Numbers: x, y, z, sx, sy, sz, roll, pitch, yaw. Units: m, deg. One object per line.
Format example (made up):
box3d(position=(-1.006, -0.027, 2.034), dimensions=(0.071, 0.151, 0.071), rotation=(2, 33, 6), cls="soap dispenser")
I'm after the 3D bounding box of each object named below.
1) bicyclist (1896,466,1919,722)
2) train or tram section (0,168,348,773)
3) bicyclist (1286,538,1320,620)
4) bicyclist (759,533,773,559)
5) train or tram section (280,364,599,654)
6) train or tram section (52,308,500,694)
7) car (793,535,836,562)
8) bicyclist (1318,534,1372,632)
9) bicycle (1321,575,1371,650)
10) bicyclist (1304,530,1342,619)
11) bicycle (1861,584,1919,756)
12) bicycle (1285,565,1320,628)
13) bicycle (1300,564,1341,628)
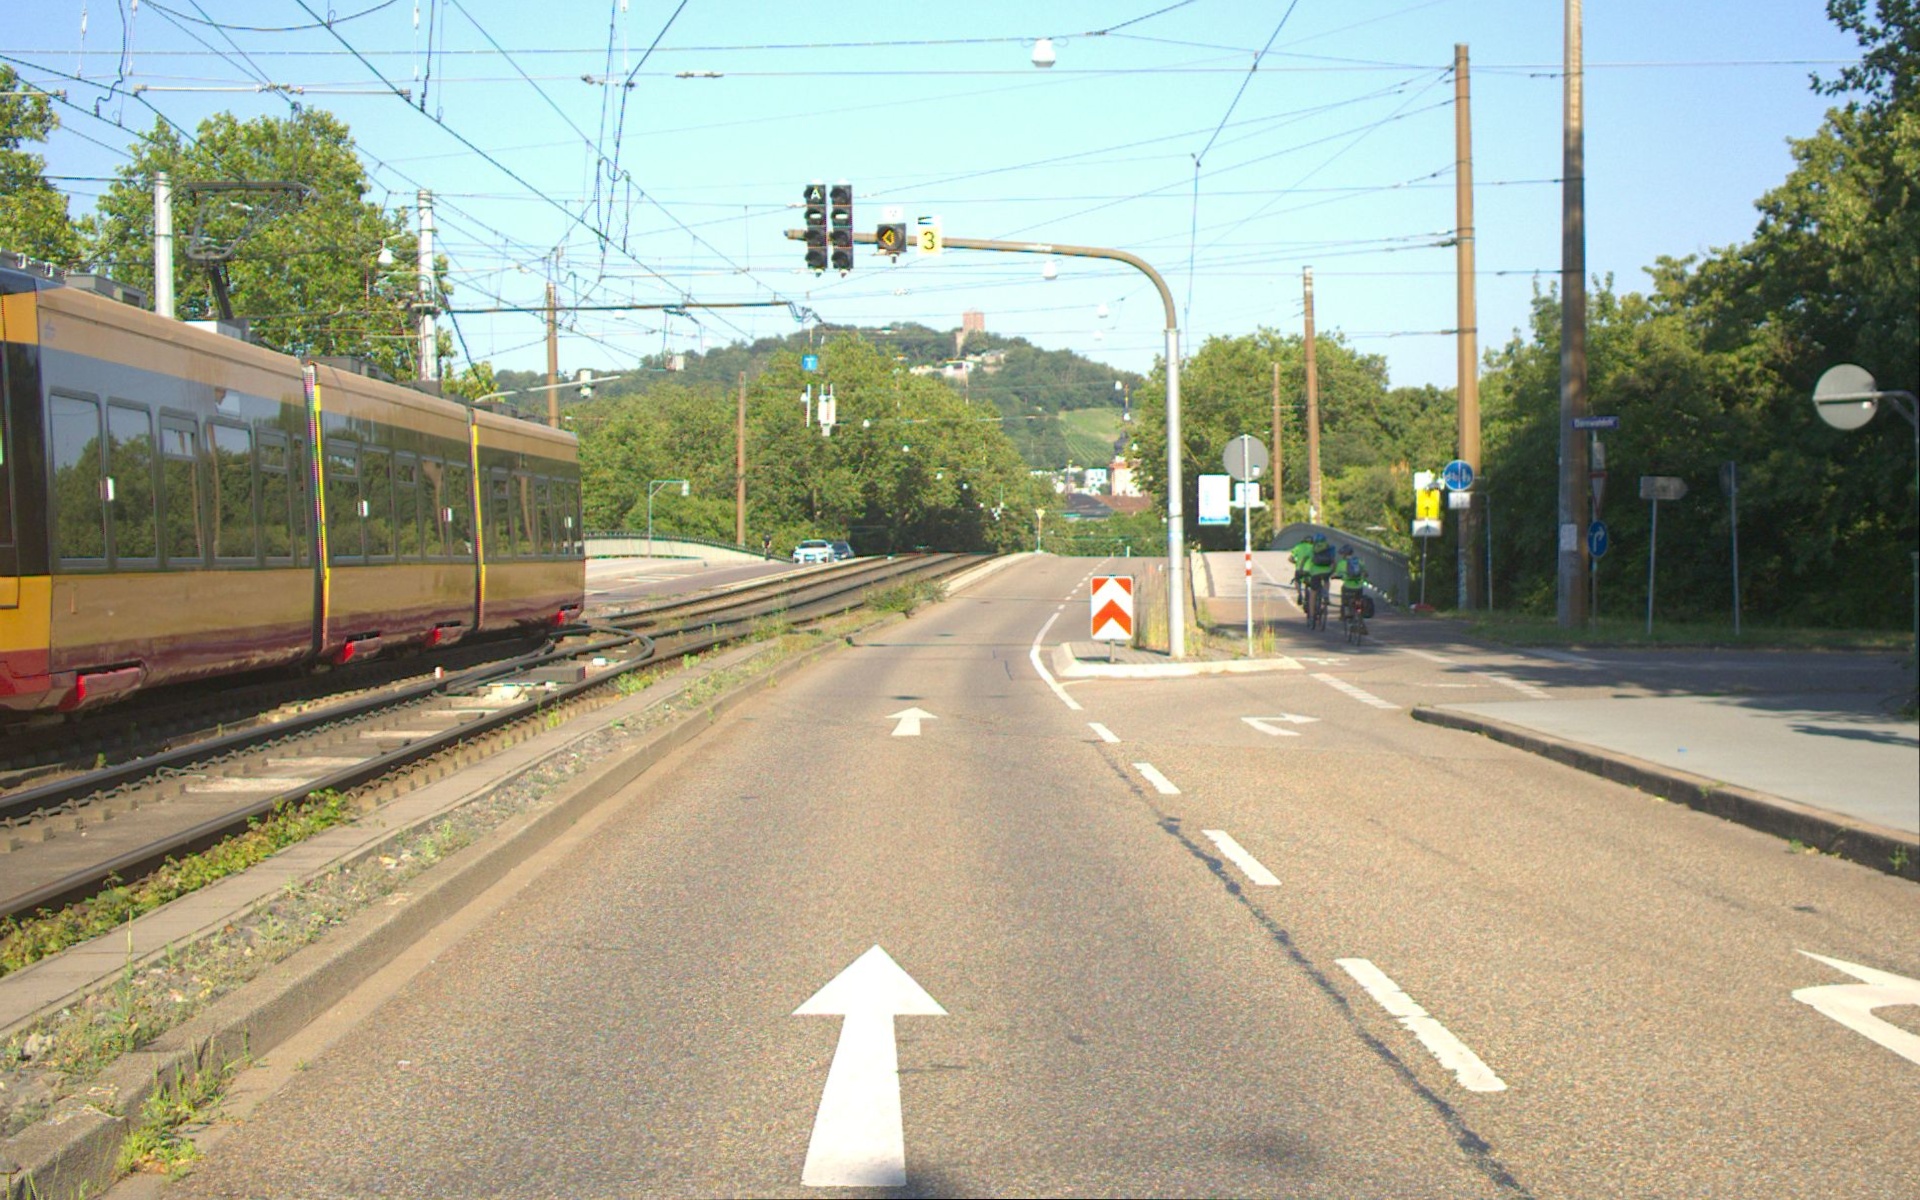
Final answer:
box3d(position=(6.689, -0.038, 22.596), dimensions=(0.731, 1.684, 1.202), rotation=(0, 1, -1), cls="bicyclist")
box3d(position=(-7.685, -0.931, 28.205), dimensions=(3.004, 3.887, 13.081), rotation=(0, 1, 0), cls="train or tram section")
box3d(position=(6.397, -0.403, 64.182), dimensions=(0.625, 1.503, 1.006), rotation=(0, 1, 5), cls="bicyclist")
box3d(position=(-10.411, -2.892, 184.336), dimensions=(0.625, 1.427, 0.968), rotation=(0, 1, 5), cls="bicyclist")
box3d(position=(-7.696, -1.336, 52.752), dimensions=(2.978, 3.887, 12.702), rotation=(0, 1, 0), cls="train or tram section")
box3d(position=(-7.695, -1.098, 40.591), dimensions=(2.976, 3.887, 11.665), rotation=(0, 1, 0), cls="train or tram section")
box3d(position=(-7.518, -2.690, 178.148), dimensions=(1.684, 1.351, 4.920), rotation=(0, 1, 4), cls="car")
box3d(position=(6.245, -0.284, 55.786), dimensions=(0.812, 1.557, 0.896), rotation=(0, 2, 3), cls="bicyclist")
box3d(position=(6.256, 0.189, 55.820), dimensions=(0.683, 1.118, 2.216), rotation=(0, 2, 3), cls="bicycle")
box3d(position=(6.457, -0.457, 61.233), dimensions=(0.625, 1.587, 0.931), rotation=(0, 1, 3), cls="bicyclist")
box3d(position=(6.676, 0.467, 22.623), dimensions=(0.731, 1.118, 2.742), rotation=(0, 1, -1), cls="bicycle")
box3d(position=(6.393, -0.072, 64.189), dimensions=(0.625, 1.118, 2.259), rotation=(0, 1, 5), cls="bicycle")
box3d(position=(6.419, -0.081, 61.215), dimensions=(0.625, 1.118, 2.042), rotation=(0, 1, 3), cls="bicycle")
